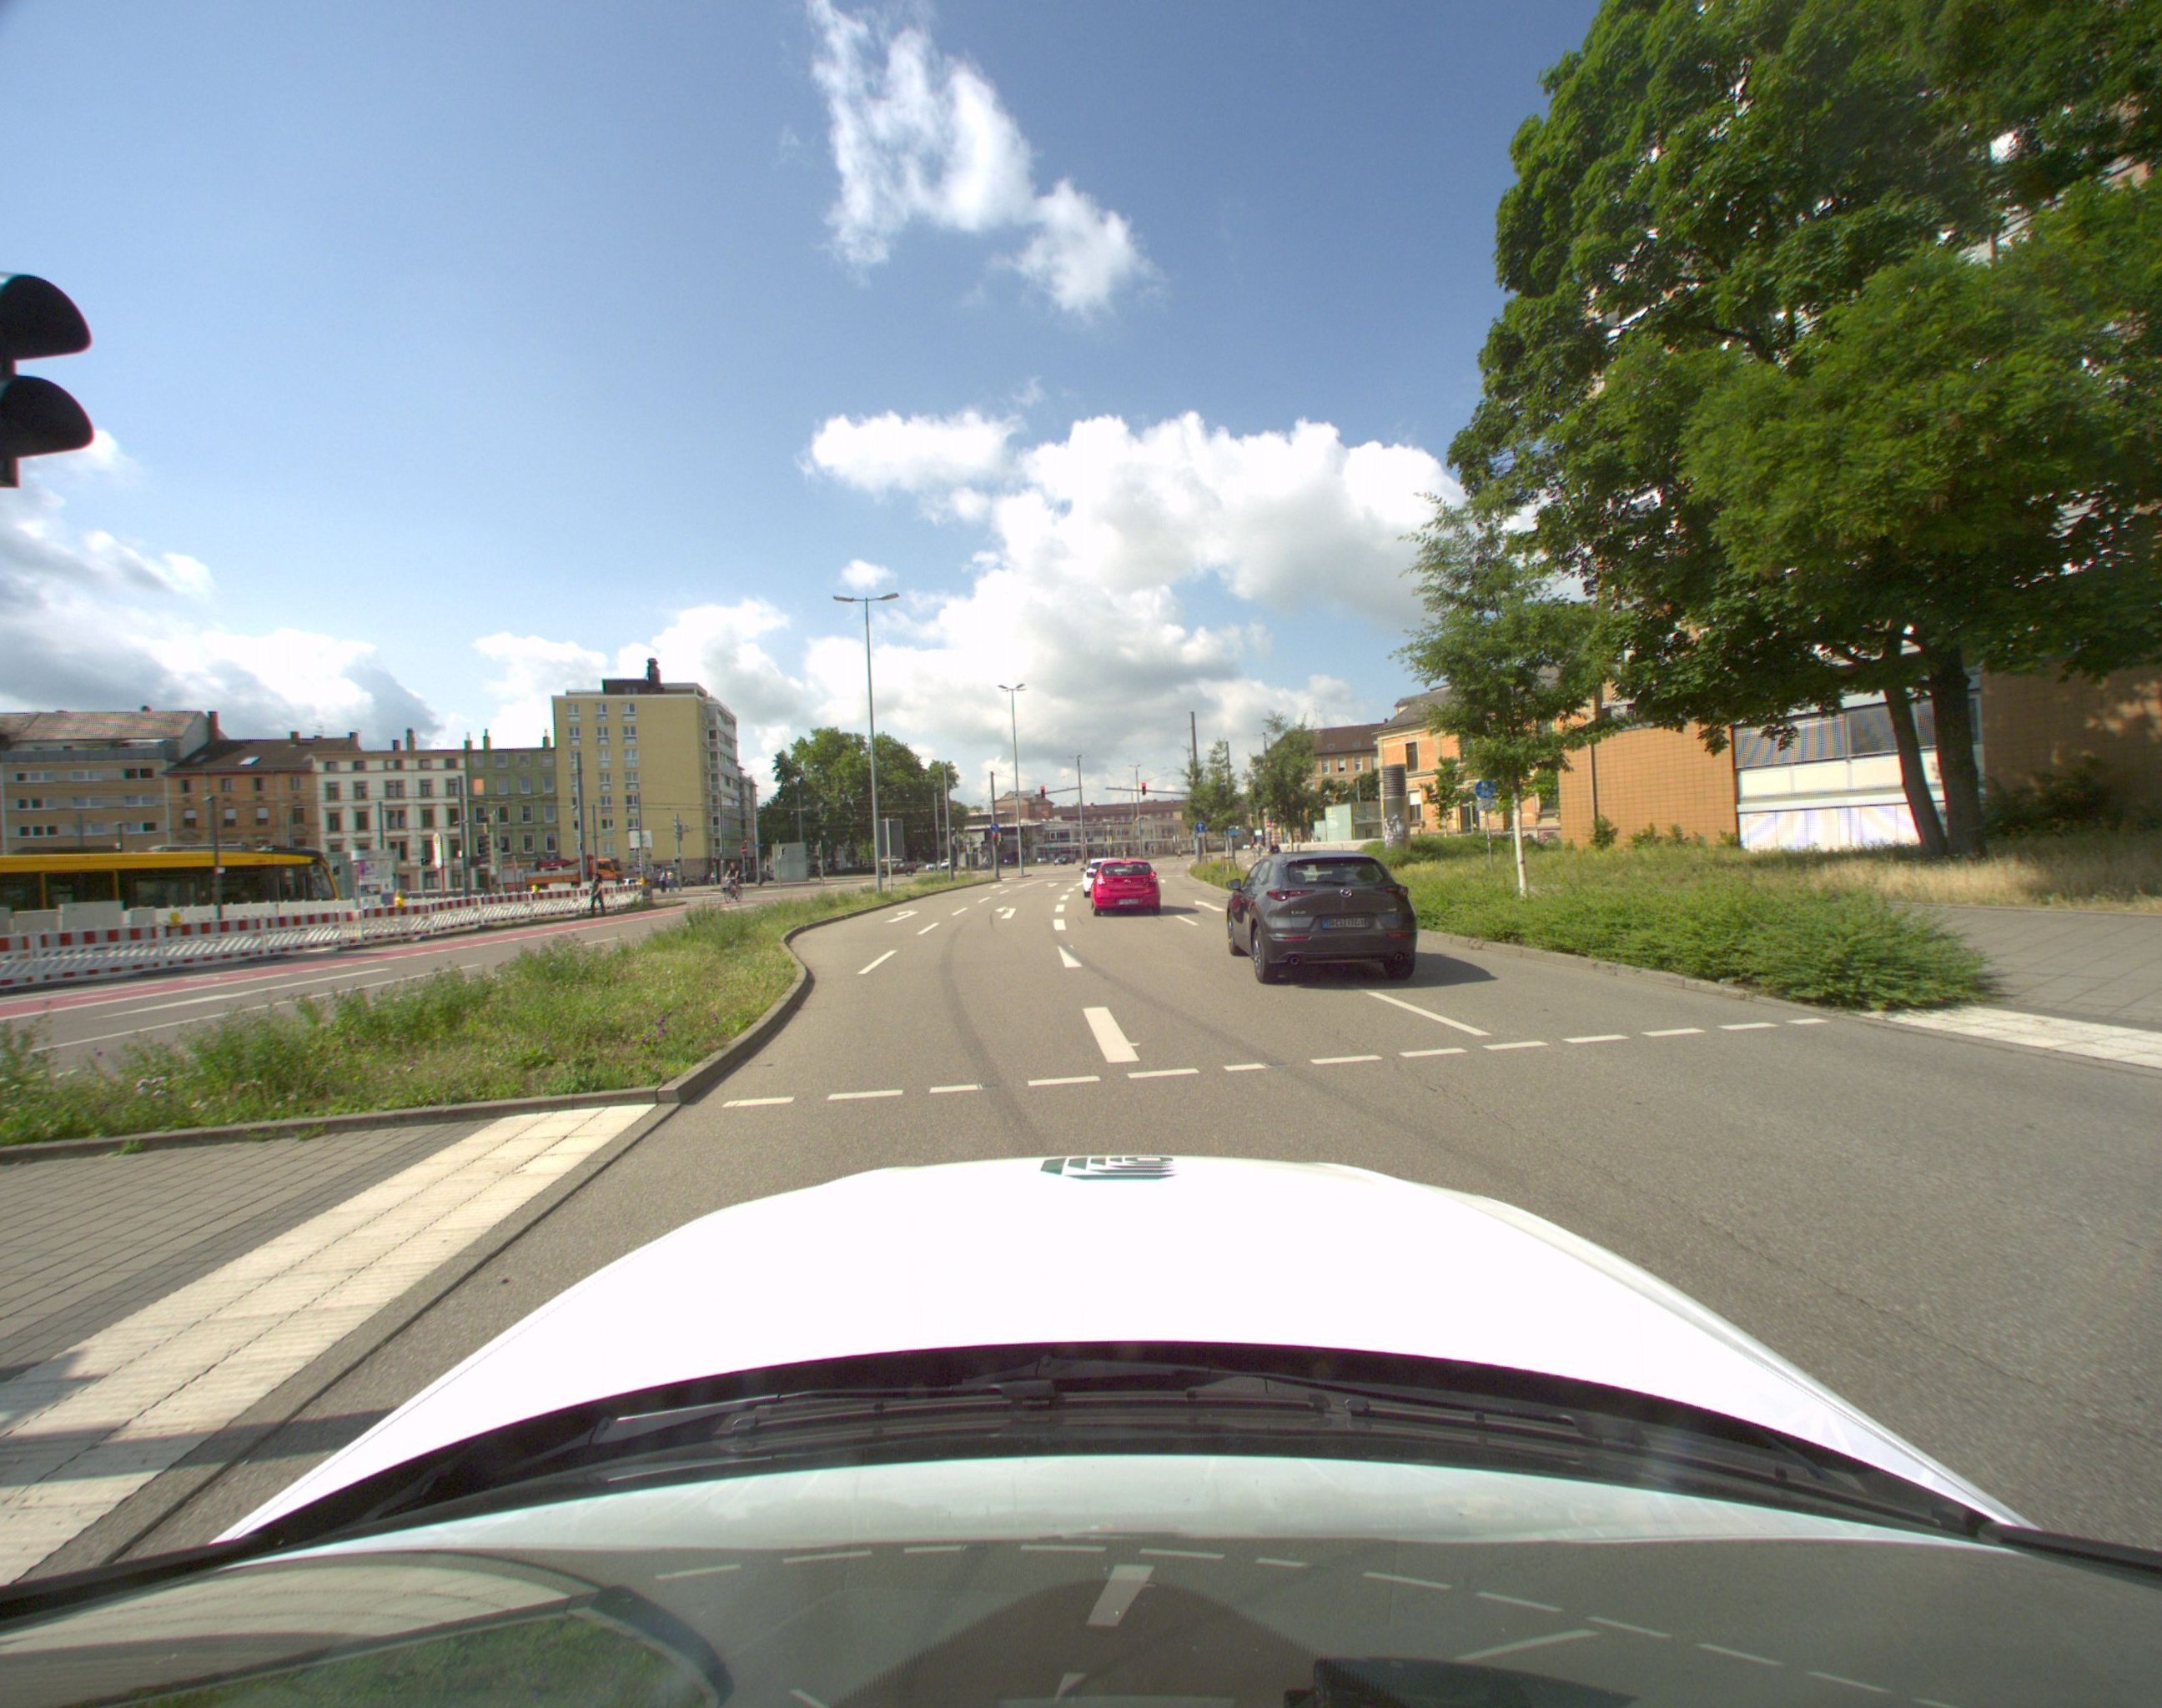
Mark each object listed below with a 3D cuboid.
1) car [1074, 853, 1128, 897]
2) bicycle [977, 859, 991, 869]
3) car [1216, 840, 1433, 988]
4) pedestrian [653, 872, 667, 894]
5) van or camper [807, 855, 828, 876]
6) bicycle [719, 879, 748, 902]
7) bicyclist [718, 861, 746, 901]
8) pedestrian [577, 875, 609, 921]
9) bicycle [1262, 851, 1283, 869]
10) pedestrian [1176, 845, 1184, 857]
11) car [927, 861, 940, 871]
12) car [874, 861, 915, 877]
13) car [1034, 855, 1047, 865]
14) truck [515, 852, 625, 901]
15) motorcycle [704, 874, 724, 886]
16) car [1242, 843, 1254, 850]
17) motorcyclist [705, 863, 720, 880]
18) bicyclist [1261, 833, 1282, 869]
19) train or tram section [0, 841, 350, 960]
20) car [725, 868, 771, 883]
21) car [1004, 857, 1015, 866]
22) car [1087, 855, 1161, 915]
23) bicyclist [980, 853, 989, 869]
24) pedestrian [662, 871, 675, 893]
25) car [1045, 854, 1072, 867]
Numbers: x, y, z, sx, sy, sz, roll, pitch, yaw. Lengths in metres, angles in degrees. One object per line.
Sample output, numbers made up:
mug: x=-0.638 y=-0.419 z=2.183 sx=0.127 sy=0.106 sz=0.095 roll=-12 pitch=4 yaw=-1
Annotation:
car: x=0.750 y=0.754 z=31.716 sx=1.842 sy=1.472 sz=4.335 roll=-3 pitch=0 yaw=0
bicycle: x=-11.450 y=1.221 z=96.398 sx=1.469 sy=1.117 sz=0.584 roll=-3 pitch=0 yaw=-19
car: x=2.926 y=0.660 z=10.760 sx=1.798 sy=1.508 sz=4.209 roll=-2 pitch=-1 yaw=4
pedestrian: x=-37.686 y=2.607 z=72.838 sx=0.696 sy=1.860 sz=0.819 roll=-3 pitch=0 yaw=2
van or camper: x=-38.266 y=1.696 z=118.213 sx=2.590 sy=2.908 sz=6.058 roll=-3 pitch=0 yaw=-20
bicycle: x=-16.372 y=1.709 z=38.401 sx=0.615 sy=1.002 sz=2.014 roll=-3 pitch=0 yaw=-6
bicyclist: x=-16.397 y=1.243 z=38.299 sx=0.809 sy=1.822 sz=1.157 roll=-3 pitch=0 yaw=-6
pedestrian: x=-18.437 y=1.656 z=30.783 sx=0.733 sy=1.681 sz=0.640 roll=-3 pitch=0 yaw=-1
bicycle: x=9.303 y=0.299 z=39.636 sx=0.622 sy=0.811 sz=1.790 roll=-4 pitch=0 yaw=3
pedestrian: x=12.903 y=-0.378 z=105.734 sx=0.678 sy=1.535 sz=0.666 roll=-3 pitch=0 yaw=-37
car: x=-27.276 y=2.232 z=151.103 sx=1.794 sy=1.769 sz=3.995 roll=-3 pitch=0 yaw=-3
car: x=-19.865 y=1.578 z=86.811 sx=4.072 sy=1.508 sz=1.806 roll=-3 pitch=0 yaw=-13
car: x=-7.492 y=1.105 z=150.154 sx=1.993 sy=1.596 sz=3.988 roll=-3 pitch=0 yaw=-8
truck: x=-46.011 y=1.991 z=73.501 sx=7.925 sy=3.856 sz=2.190 roll=-3 pitch=0 yaw=-14
motorcycle: x=-39.245 y=2.759 z=87.069 sx=0.777 sy=1.115 sz=2.440 roll=-3 pitch=0 yaw=7
car: x=40.169 y=-1.809 z=196.146 sx=1.976 sy=1.442 sz=4.023 roll=-3 pitch=0 yaw=24
motorcyclist: x=-39.311 y=1.858 z=86.948 sx=0.882 sy=1.782 sz=1.245 roll=-3 pitch=0 yaw=7
bicyclist: x=9.268 y=-0.156 z=39.699 sx=0.732 sy=1.702 sz=0.966 roll=-5 pitch=0 yaw=3
train or tram section: x=-33.212 y=1.481 z=27.388 sx=2.634 sy=3.572 sz=12.493 roll=-3 pitch=0 yaw=31
car: x=-34.646 y=2.234 z=84.809 sx=4.072 sy=1.508 sz=1.806 roll=-1 pitch=-1 yaw=-13
car: x=-13.057 y=1.399 z=148.933 sx=1.990 sy=1.552 sz=4.072 roll=-3 pitch=0 yaw=-4
car: x=1.161 y=0.784 z=22.531 sx=1.809 sy=1.439 sz=4.069 roll=-2 pitch=0 yaw=2
bicyclist: x=-11.418 y=0.813 z=96.421 sx=0.888 sy=1.871 sz=0.759 roll=-3 pitch=0 yaw=-19
pedestrian: x=-36.936 y=2.477 z=72.845 sx=0.647 sy=1.868 sz=0.782 roll=-3 pitch=0 yaw=3
car: x=-3.071 y=0.872 z=111.831 sx=1.975 sy=1.530 sz=4.023 roll=-3 pitch=0 yaw=24
